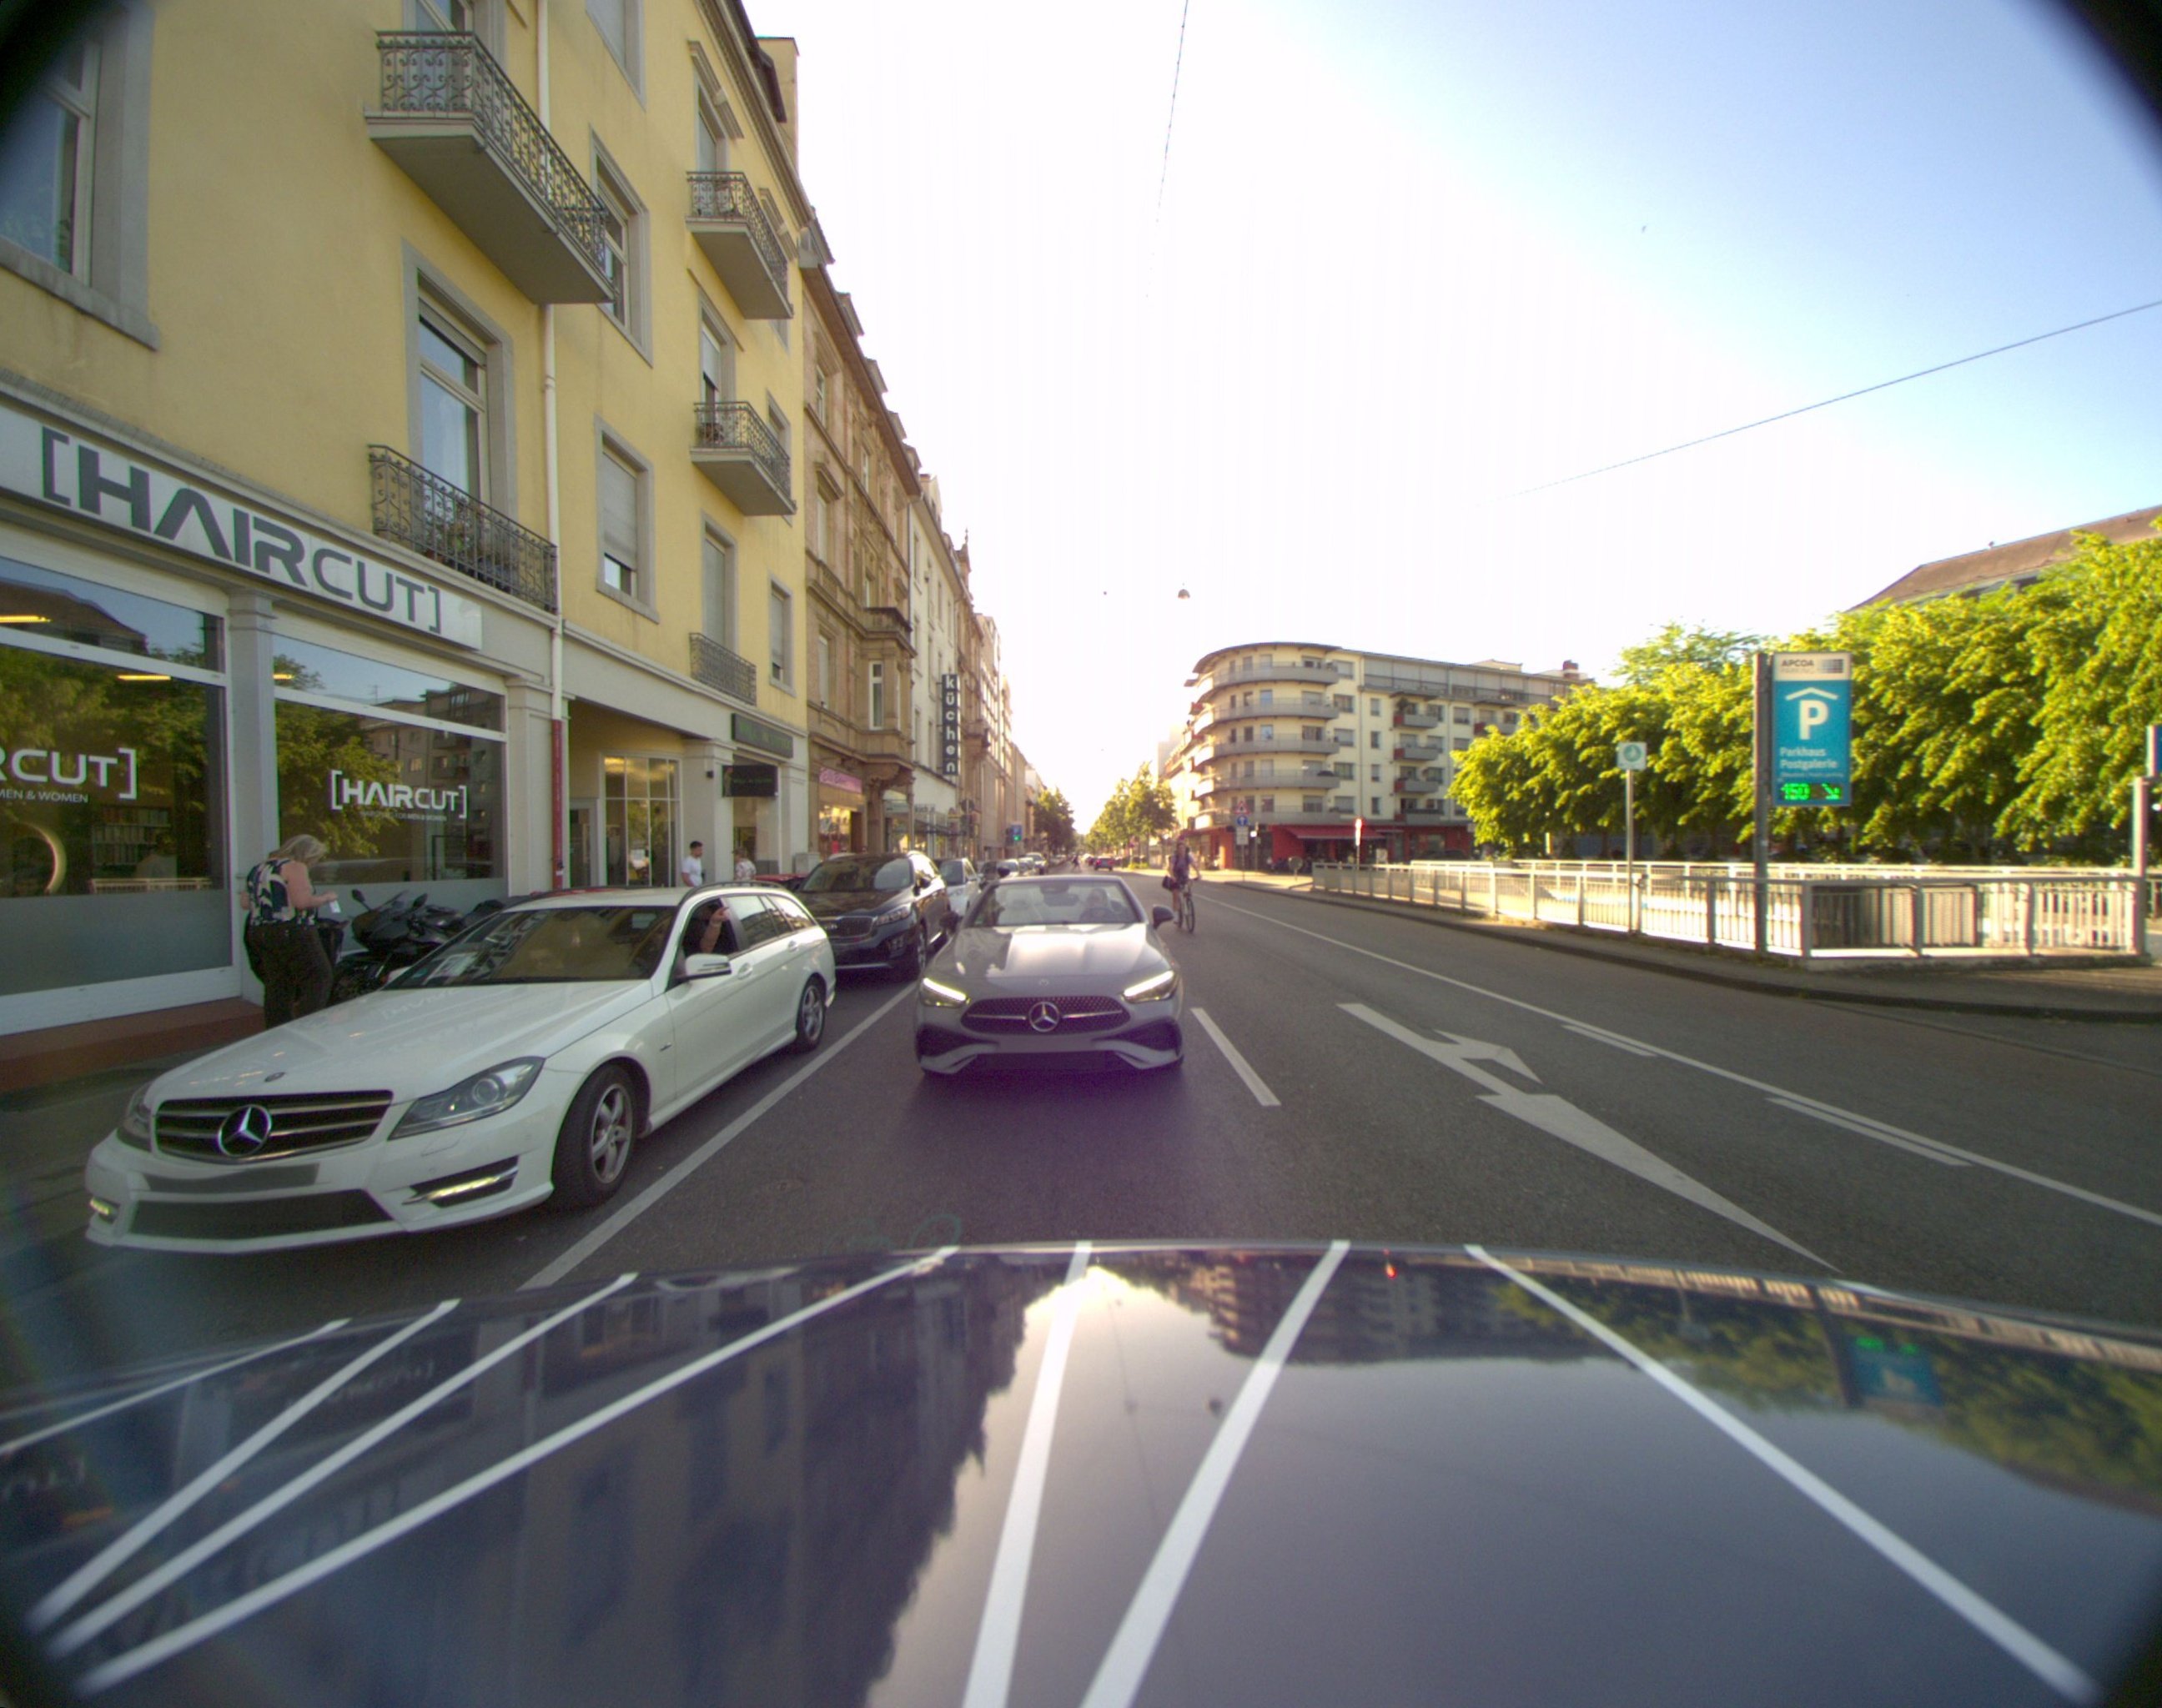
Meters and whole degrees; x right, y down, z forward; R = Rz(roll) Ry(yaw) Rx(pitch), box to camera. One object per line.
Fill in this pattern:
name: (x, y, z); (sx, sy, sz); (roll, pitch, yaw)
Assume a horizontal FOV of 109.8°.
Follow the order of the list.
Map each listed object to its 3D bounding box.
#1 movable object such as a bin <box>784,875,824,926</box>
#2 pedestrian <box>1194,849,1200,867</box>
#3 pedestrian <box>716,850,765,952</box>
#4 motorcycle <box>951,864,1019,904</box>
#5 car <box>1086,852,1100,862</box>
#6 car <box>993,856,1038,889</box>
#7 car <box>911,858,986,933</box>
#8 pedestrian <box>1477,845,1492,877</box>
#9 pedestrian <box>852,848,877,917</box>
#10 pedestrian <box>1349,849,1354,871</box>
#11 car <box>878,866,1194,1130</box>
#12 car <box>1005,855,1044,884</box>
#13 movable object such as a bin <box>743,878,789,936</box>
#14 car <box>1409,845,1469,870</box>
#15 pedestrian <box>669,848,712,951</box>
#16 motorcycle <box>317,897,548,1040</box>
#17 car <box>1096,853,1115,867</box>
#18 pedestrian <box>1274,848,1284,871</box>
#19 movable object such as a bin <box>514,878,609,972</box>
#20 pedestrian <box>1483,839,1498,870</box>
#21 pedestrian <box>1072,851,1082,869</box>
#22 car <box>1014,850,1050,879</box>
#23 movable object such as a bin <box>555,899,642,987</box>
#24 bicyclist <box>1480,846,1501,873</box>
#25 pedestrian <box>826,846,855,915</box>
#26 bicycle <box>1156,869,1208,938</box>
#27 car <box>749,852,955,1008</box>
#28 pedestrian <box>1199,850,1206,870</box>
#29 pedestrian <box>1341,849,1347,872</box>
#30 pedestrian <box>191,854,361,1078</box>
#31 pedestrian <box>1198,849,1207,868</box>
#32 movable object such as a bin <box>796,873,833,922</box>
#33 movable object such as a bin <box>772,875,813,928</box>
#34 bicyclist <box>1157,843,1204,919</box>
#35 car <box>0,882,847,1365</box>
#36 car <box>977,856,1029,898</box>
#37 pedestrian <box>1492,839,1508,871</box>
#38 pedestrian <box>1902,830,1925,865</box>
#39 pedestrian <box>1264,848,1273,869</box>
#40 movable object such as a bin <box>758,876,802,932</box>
movable object such as a bin: (-6.064, 1.001, 16.640); (0.606, 1.060, 0.619); (2, 1, 0)
pedestrian: (9.863, 0.363, 64.825); (0.376, 1.521, 0.516); (-2, 1, -3)
pedestrian: (-5.668, 0.764, 12.642); (0.450, 1.651, 0.594); (1, 1, 36)
motorcycle: (-3.275, 1.001, 26.027); (2.178, 1.272, 0.866); (-2, 1, -42)
car: (1.693, 0.426, 111.090); (1.895, 1.388, 4.255); (-1, 0, 0)
car: (-3.069, 0.843, 36.132); (1.737, 1.409, 3.802); (-1, 0, 0)
car: (-2.975, 0.887, 17.456); (1.275, 1.509, 2.794); (-1, 0, -2)
pedestrian: (23.147, 0.389, 43.624); (0.602, 1.782, 0.581); (-3, 2, -45)
pedestrian: (-5.248, 0.678, 18.400); (0.414, 1.623, 0.515); (-1, 1, -1)
pedestrian: (19.880, 0.445, 55.817); (0.270, 1.658, 0.362); (-1, 1, 32)
car: (-0.257, 0.897, 6.714); (1.848, 1.440, 4.373); (-1, 0, 0)
car: (-2.989, 0.809, 40.645); (1.737, 1.409, 3.802); (-1, 0, 0)
movable object such as a bin: (-6.110, 1.010, 14.746); (0.606, 1.060, 0.619); (2, 1, 0)
car: (29.267, 0.245, 62.060); (4.432, 1.901, 1.951); (-2, 1, -24)
pedestrian: (-6.445, 0.733, 12.545); (0.337, 1.651, 0.525); (1, 1, 24)
motorcycle: (-6.193, 1.024, 7.434); (0.551, 1.085, 2.009); (0, 0, -1)
car: (2.486, 0.568, 78.199); (1.806, 1.388, 3.926); (-1, 0, -1)
pedestrian: (15.375, 0.426, 59.056); (0.575, 1.698, 0.642); (-1, 1, 3)
movable object such as a bin: (-6.117, 0.818, 8.968); (0.661, 1.035, 0.619); (2, 1, 3)
pedestrian: (23.696, 0.028, 43.984); (0.602, 1.782, 0.581); (-3, 2, -45)
pedestrian: (-0.368, 0.566, 69.477); (0.774, 1.606, 0.696); (-1, 1, -3)
car: (-2.993, 0.635, 47.274); (1.895, 1.680, 4.049); (-1, 0, 0)
movable object such as a bin: (-6.082, 1.112, 9.605); (0.669, 1.019, 0.619); (2, 1, 3)
bicyclist: (24.865, 0.347, 46.150); (0.973, 1.605, 0.715); (-1, 1, 40)
pedestrian: (-5.786, 0.619, 18.280); (0.619, 1.623, 0.462); (-2, 1, -17)
bicycle: (1.975, 0.947, 15.051); (0.798, 1.226, 1.773); (-1, 0, 1)
car: (-2.981, 0.850, 10.940); (1.760, 1.726, 4.571); (-1, 0, -3)
pedestrian: (10.479, 0.517, 65.495); (0.442, 1.663, 0.516); (-2, 1, -3)
pedestrian: (19.355, 0.462, 55.929); (0.322, 1.658, 0.362); (-1, 1, 32)
pedestrian: (-6.086, 0.811, 5.774); (0.698, 1.623, 0.532); (0, 1, -2)
pedestrian: (10.353, 0.393, 64.799); (0.570, 1.612, 0.793); (-2, 1, -3)
movable object such as a bin: (-6.056, 0.980, 17.294); (0.606, 1.060, 0.619); (2, 1, 0)
movable object such as a bin: (-6.075, 0.996, 16.007); (0.606, 1.060, 0.619); (2, 1, 0)
bicyclist: (1.954, 0.517, 15.040); (0.798, 1.426, 1.008); (-1, 1, 1)
car: (-3.064, 1.010, 4.836); (1.743, 1.438, 4.463); (-1, 0, 0)
car: (-3.040, 0.856, 30.252); (1.737, 1.509, 4.164); (-1, 0, -2)
pedestrian: (24.416, 0.058, 44.300); (0.602, 1.782, 0.581); (-3, 2, -40)
pedestrian: (42.797, -0.332, 39.063); (0.602, 1.782, 0.581); (-2, 1, -20)
pedestrian: (14.718, 0.350, 59.575); (0.575, 1.698, 0.642); (-1, 1, 3)
movable object such as a bin: (-6.087, 1.003, 15.393); (0.606, 1.060, 0.619); (2, 1, 0)
